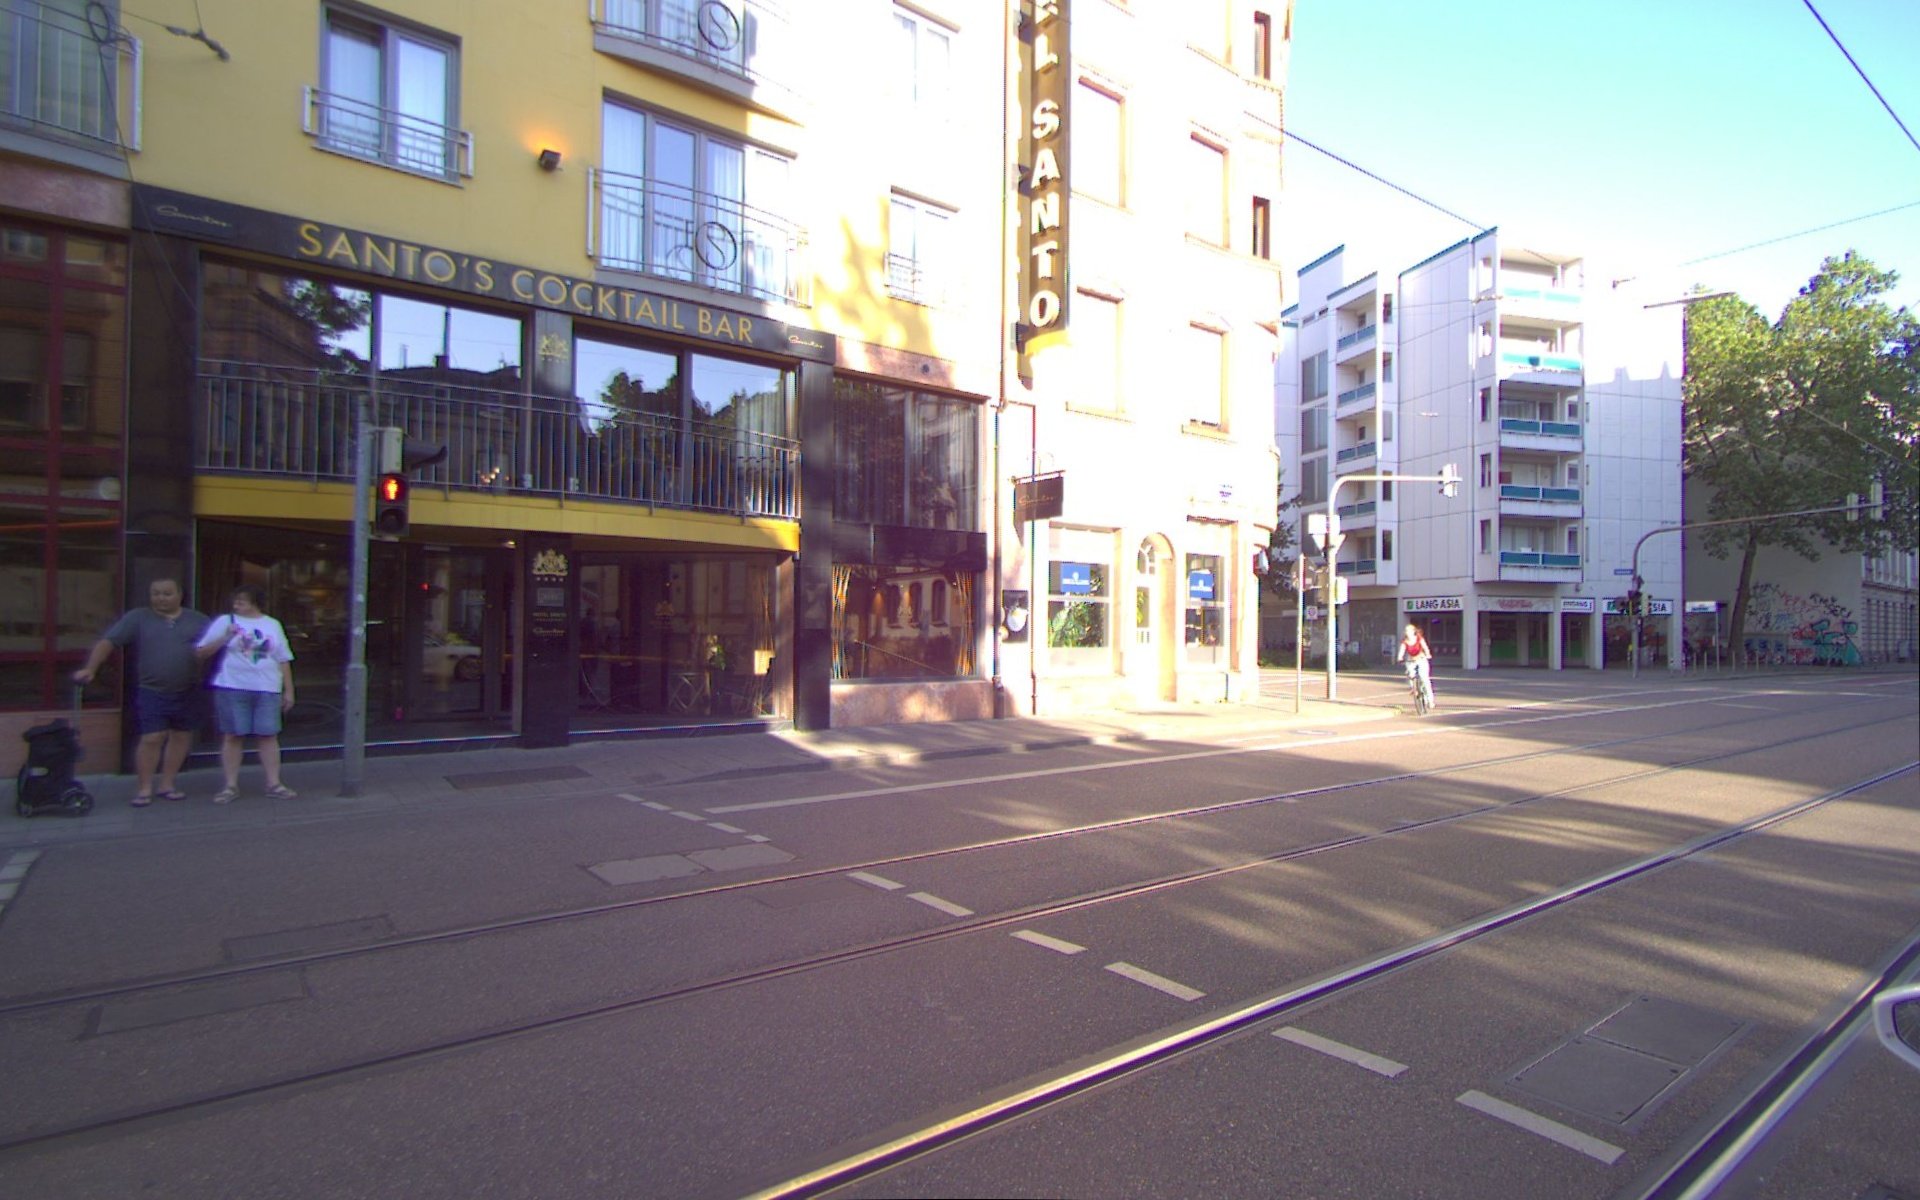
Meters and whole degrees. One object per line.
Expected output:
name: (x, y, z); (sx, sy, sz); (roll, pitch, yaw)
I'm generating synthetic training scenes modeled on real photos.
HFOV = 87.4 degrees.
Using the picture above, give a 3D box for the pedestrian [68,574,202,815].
pedestrian: (-6.632, 0.718, 8.111); (0.793, 1.795, 0.741); (1, 3, -38)

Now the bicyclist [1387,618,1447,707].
bicyclist: (8.880, 1.195, 19.523); (0.982, 1.665, 0.696); (2, -2, -38)

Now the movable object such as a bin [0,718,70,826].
movable object such as a bin: (-7.223, 1.292, 7.492); (0.833, 0.726, 0.380); (1, 3, -37)

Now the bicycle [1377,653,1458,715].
bicycle: (8.932, 1.604, 19.571); (1.882, 1.124, 0.691); (2, -2, -39)

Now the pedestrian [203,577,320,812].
pedestrian: (-6.049, 0.761, 8.681); (0.747, 1.843, 1.034); (1, 3, -38)

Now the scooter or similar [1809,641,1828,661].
scooter or similar: (45.399, 2.696, 53.098); (1.466, 1.059, 0.512); (2, -2, -40)

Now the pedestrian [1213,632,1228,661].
pedestrian: (15.698, 2.804, 60.595); (0.651, 1.718, 0.646); (1, -1, -15)

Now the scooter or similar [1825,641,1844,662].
scooter or similar: (45.809, 2.687, 52.608); (1.466, 1.071, 0.512); (2, -2, -40)
